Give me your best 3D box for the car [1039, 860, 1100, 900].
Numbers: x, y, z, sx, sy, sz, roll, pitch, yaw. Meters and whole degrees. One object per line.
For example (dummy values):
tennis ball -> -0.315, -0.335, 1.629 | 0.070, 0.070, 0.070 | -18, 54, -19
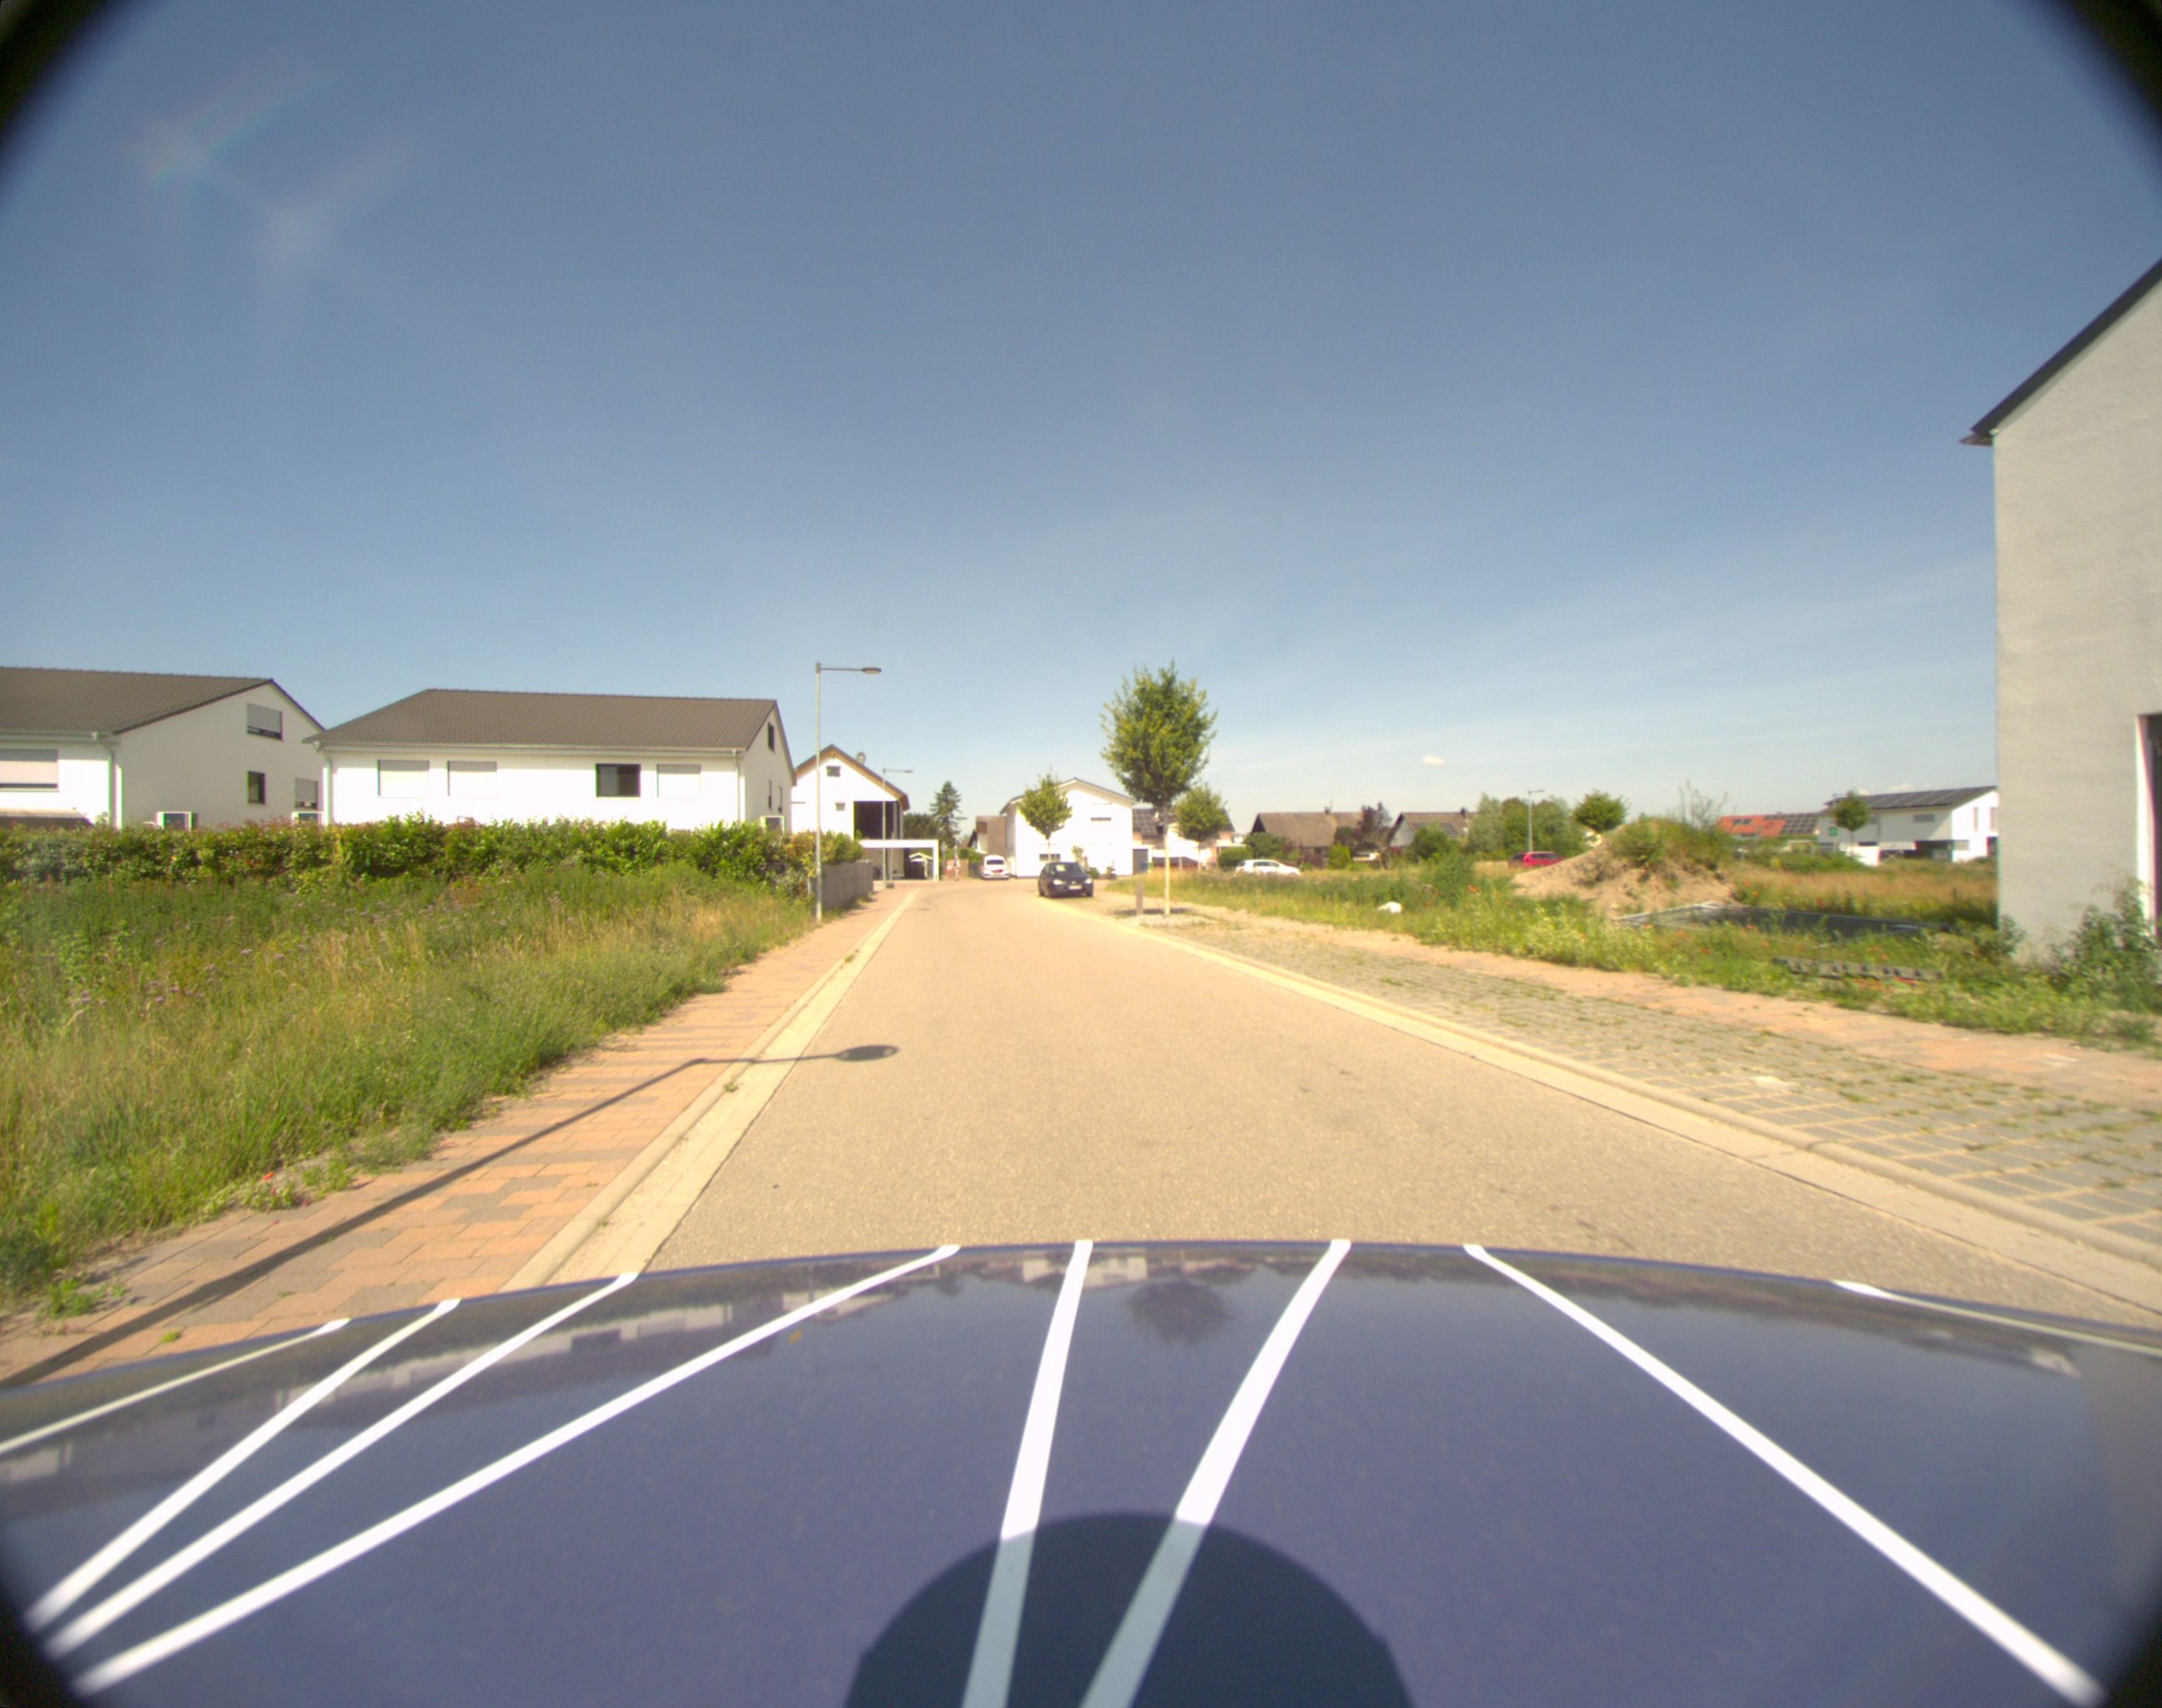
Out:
car -> -0.562, 1.006, 31.308 | 1.818, 1.445, 4.140 | -2, 0, -10

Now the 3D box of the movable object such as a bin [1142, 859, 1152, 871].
movable object such as a bin -> 5.559, 0.929, 63.819 | 0.686, 0.999, 0.740 | 0, 0, -8

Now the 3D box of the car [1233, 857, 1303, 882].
car -> 11.909, 0.971, 48.565 | 3.999, 1.494, 1.809 | -1, 0, -5

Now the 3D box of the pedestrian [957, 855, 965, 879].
pedestrian -> -8.704, 0.936, 55.170 | 0.551, 1.710, 0.819 | -1, 0, -7

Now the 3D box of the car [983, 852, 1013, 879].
car -> -6.278, 0.840, 57.101 | 1.857, 1.874, 4.555 | -2, 0, -10

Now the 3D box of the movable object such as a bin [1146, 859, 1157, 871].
movable object such as a bin -> 5.840, 0.928, 63.035 | 0.686, 0.999, 0.740 | 0, 0, -8

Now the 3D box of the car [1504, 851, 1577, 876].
car -> 30.934, 0.609, 51.225 | 4.000, 1.606, 1.808 | -1, 0, -9
